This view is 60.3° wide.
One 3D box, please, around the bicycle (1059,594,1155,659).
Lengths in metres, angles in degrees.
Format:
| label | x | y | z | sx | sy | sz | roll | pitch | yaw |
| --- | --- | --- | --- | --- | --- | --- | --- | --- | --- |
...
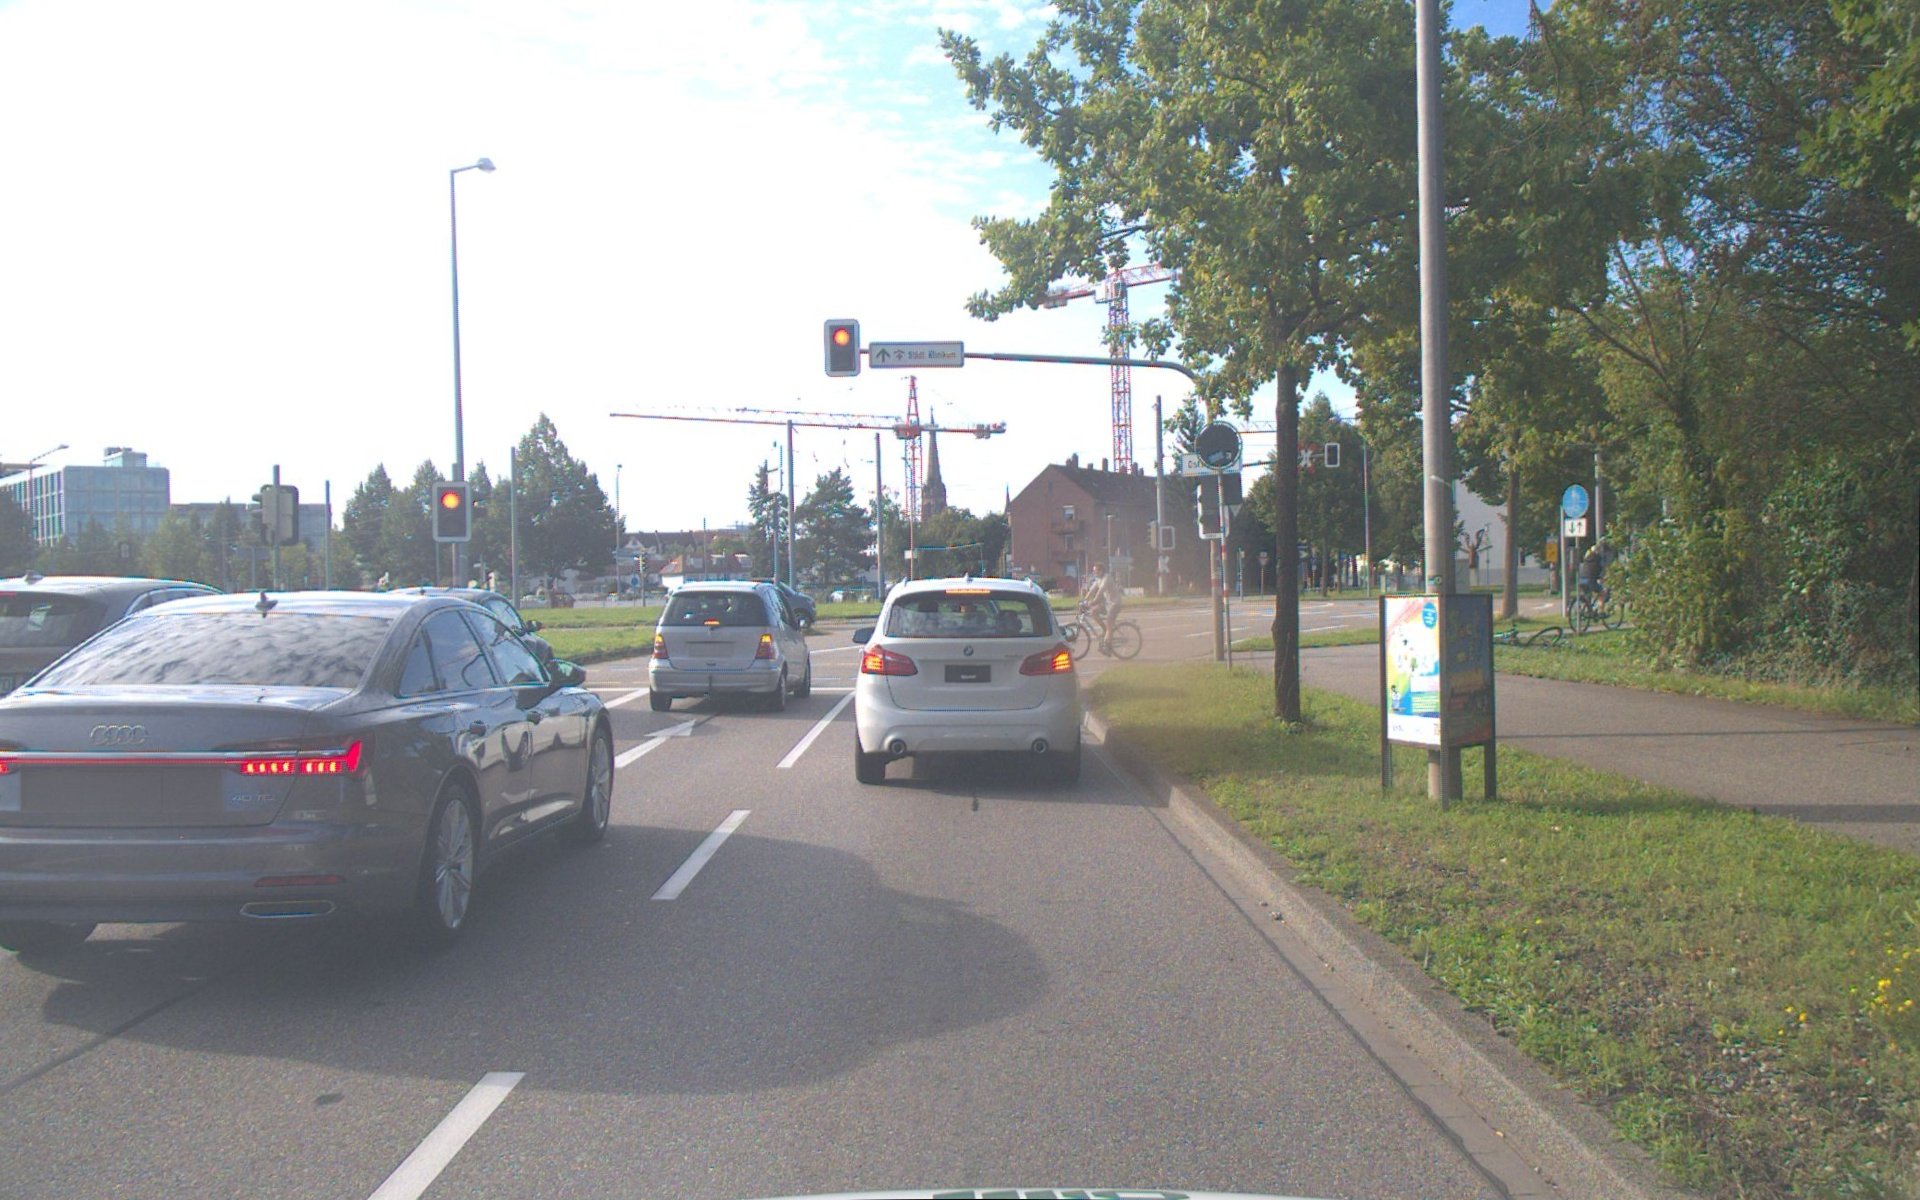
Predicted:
| label | x | y | z | sx | sy | sz | roll | pitch | yaw |
| --- | --- | --- | --- | --- | --- | --- | --- | --- | --- |
| bicycle | 2.813 | 0.504 | 31.688 | 1.698 | 1.184 | 0.653 | -1 | 0 | -17 |

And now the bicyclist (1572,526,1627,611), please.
| label | x | y | z | sx | sy | sz | roll | pitch | yaw |
| --- | --- | --- | --- | --- | --- | --- | --- | --- | --- |
| bicyclist | 12.795 | -0.627 | 33.097 | 0.823 | 1.676 | 0.677 | -1 | 0 | -36 |

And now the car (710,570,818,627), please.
| label | x | y | z | sx | sy | sz | roll | pitch | yaw |
| --- | --- | --- | --- | --- | --- | --- | --- | --- | --- |
| car | -5.808 | -0.064 | 49.185 | 3.127 | 1.601 | 1.573 | -1 | 1 | -7 |

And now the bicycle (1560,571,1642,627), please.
| label | x | y | z | sx | sy | sz | roll | pitch | yaw |
| --- | --- | --- | --- | --- | --- | --- | --- | --- | --- |
| bicycle | 12.841 | -0.024 | 33.124 | 1.757 | 1.068 | 0.702 | -1 | 0 | -36 |

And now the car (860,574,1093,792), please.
| label | x | y | z | sx | sy | sz | roll | pitch | yaw |
| --- | --- | --- | --- | --- | --- | --- | --- | --- | --- |
| car | 0.090 | 0.587 | 14.108 | 1.694 | 1.585 | 4.057 | 0 | 0 | -1 |

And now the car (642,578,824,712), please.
| label | x | y | z | sx | sy | sz | roll | pitch | yaw |
| --- | --- | --- | --- | --- | --- | --- | --- | --- | --- |
| car | -2.843 | 0.513 | 21.510 | 1.693 | 1.585 | 4.059 | 0 | 0 | 2 |

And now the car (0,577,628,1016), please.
| label | x | y | z | sx | sy | sz | roll | pitch | yaw |
| --- | --- | --- | --- | --- | --- | --- | --- | --- | --- |
| car | -2.965 | 0.676 | 8.019 | 1.851 | 1.509 | 4.612 | 0 | 0 | -1 |

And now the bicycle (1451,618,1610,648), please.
| label | x | y | z | sx | sy | sz | roll | pitch | yaw |
| --- | --- | --- | --- | --- | --- | --- | --- | --- | --- |
| bicycle | 9.463 | 0.538 | 27.590 | 1.382 | 0.392 | 2.569 | -2 | 0 | -12 |

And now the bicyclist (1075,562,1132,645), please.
| label | x | y | z | sx | sy | sz | roll | pitch | yaw |
| --- | --- | --- | --- | --- | --- | --- | --- | --- | --- |
| bicyclist | 2.749 | 0.063 | 31.675 | 0.835 | 1.553 | 0.737 | -2 | 0 | -17 |

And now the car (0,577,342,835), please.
| label | x | y | z | sx | sy | sz | roll | pitch | yaw |
| --- | --- | --- | --- | --- | --- | --- | --- | --- | --- |
| car | -6.159 | 0.647 | 12.217 | 1.694 | 1.585 | 4.018 | 0 | 0 | 0 |

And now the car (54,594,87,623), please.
| label | x | y | z | sx | sy | sz | roll | pitch | yaw |
| --- | --- | --- | --- | --- | --- | --- | --- | --- | --- |
| car | -51.702 | 0.511 | 96.148 | 1.574 | 1.439 | 3.636 | -4 | -1 | -28 |

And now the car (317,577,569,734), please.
| label | x | y | z | sx | sy | sz | roll | pitch | yaw |
| --- | --- | --- | --- | --- | --- | --- | --- | --- | --- |
| car | -5.755 | 0.548 | 18.889 | 1.686 | 1.592 | 3.877 | 0 | 1 | 0 |
